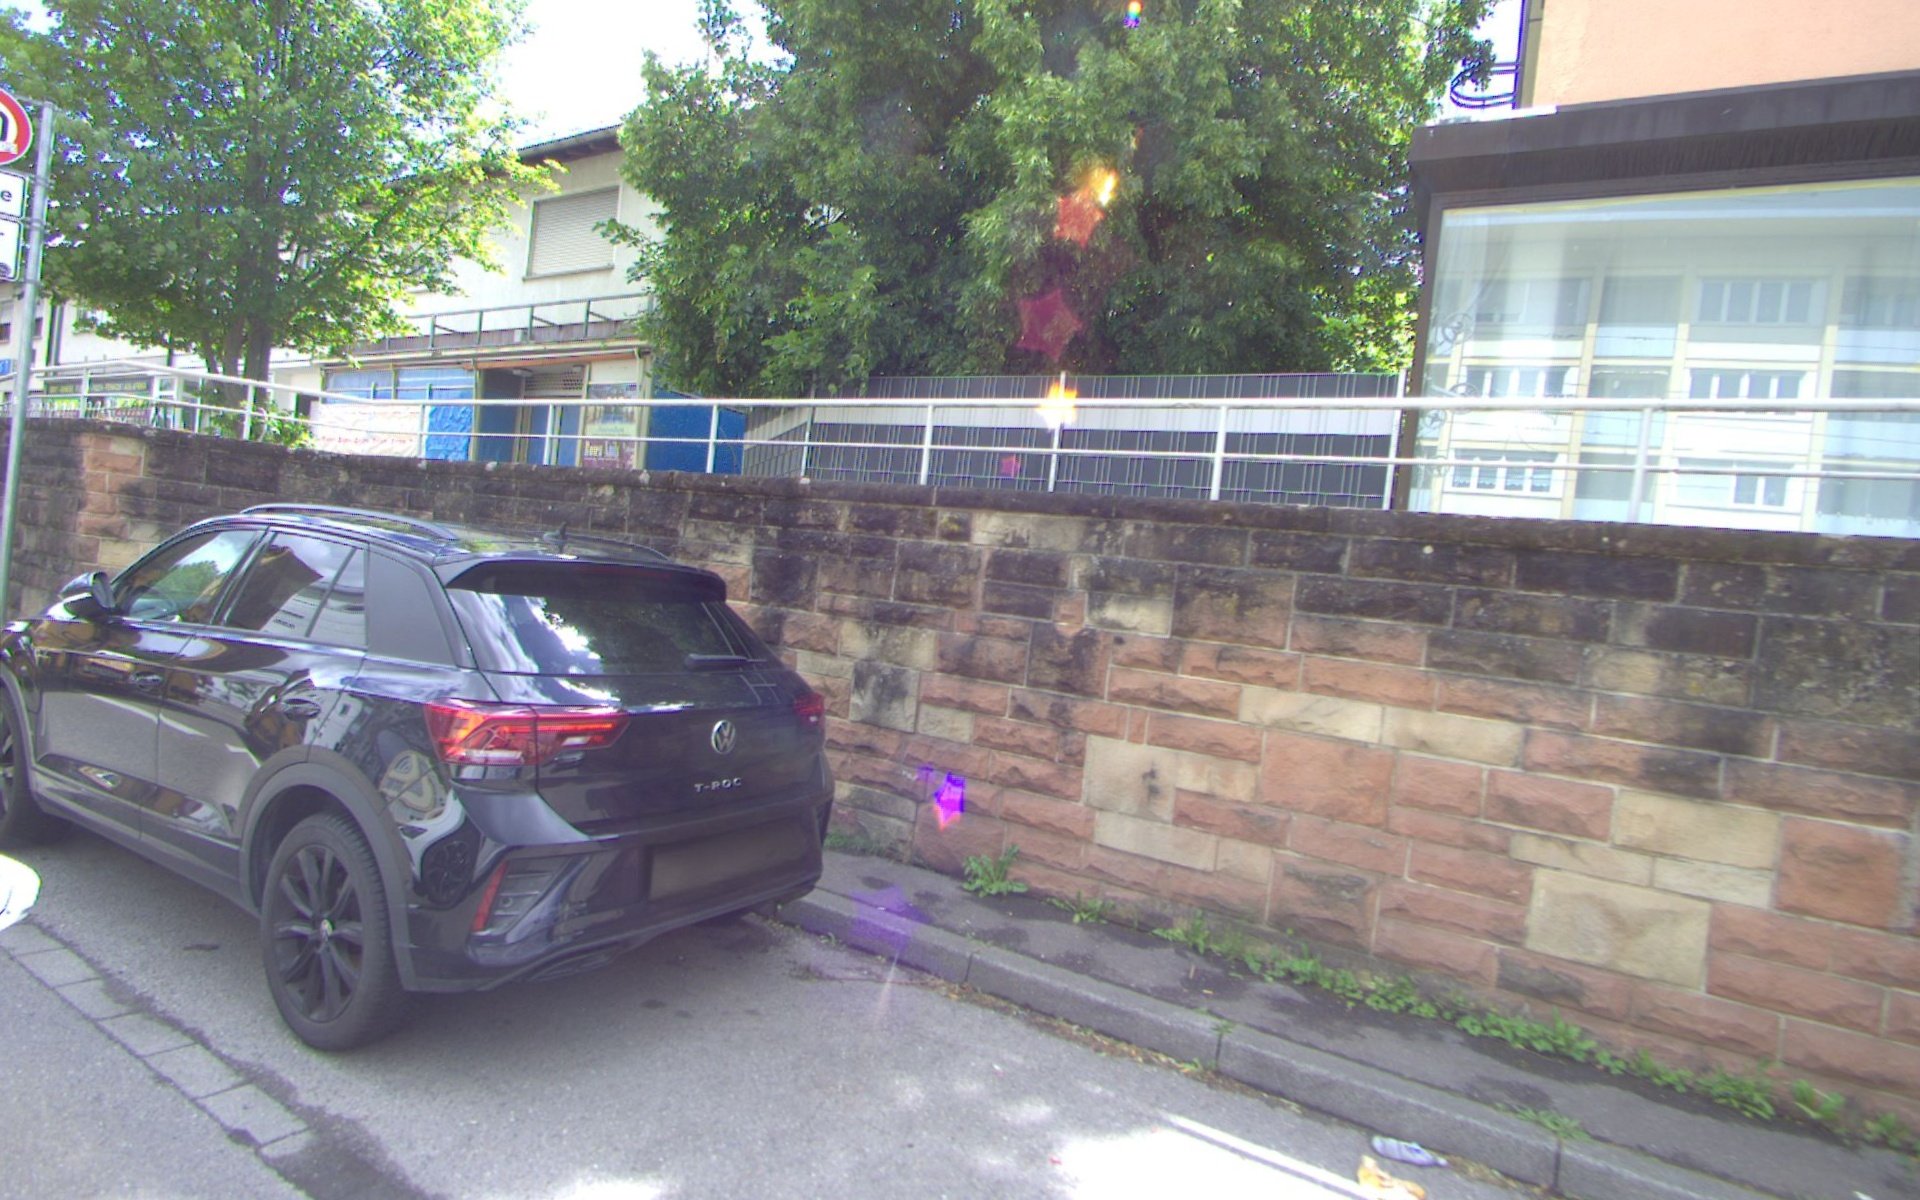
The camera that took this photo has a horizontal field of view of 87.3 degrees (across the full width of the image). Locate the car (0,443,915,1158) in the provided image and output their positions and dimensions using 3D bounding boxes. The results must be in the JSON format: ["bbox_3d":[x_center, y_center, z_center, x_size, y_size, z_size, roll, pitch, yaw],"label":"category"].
[{"bbox_3d":[-2.398,0.362,4.225,3.934,1.660,1.852,7,1,32],"label":"car"}]
